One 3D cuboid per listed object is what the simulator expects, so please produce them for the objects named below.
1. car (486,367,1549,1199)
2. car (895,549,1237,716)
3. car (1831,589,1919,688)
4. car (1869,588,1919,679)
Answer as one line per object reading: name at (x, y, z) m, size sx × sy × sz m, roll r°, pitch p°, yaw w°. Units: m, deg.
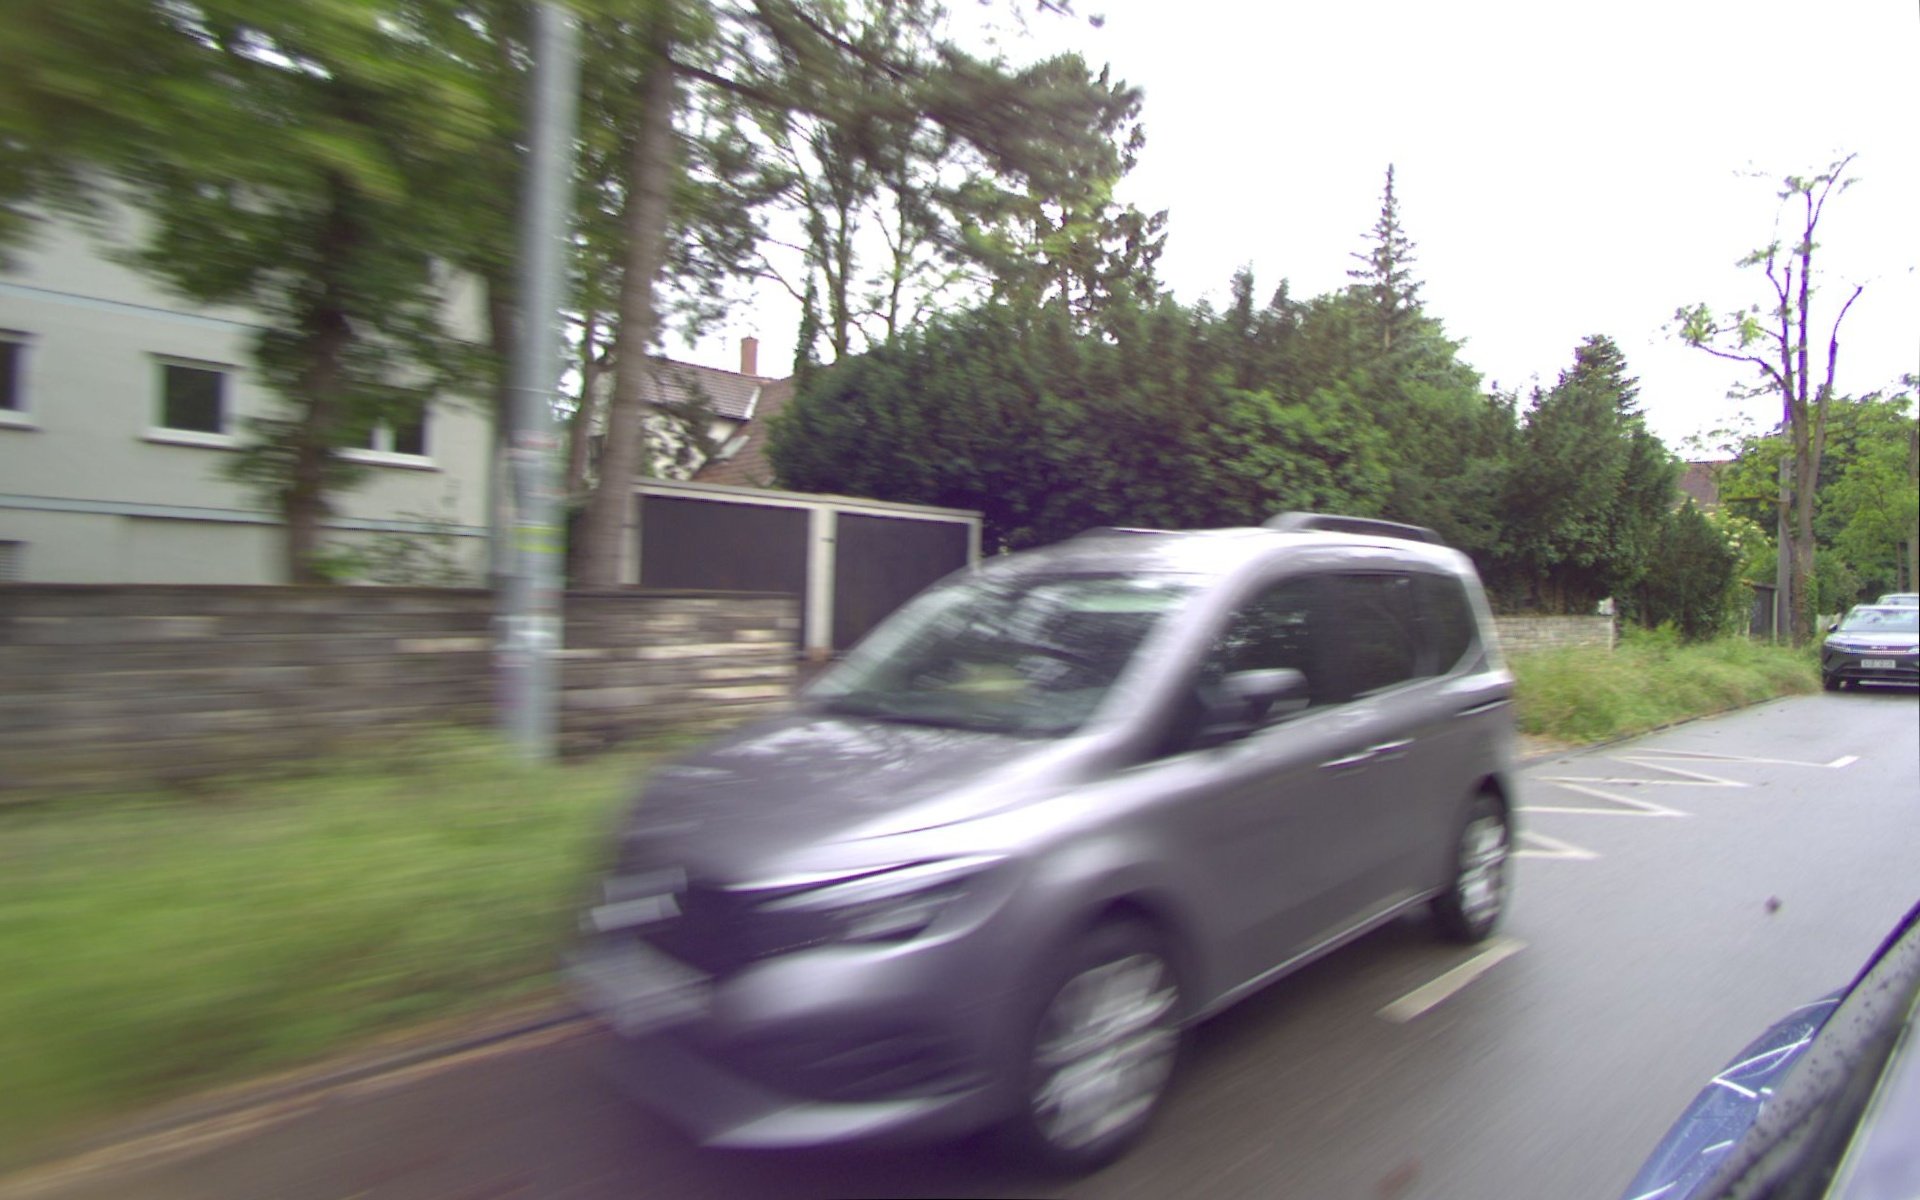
car at (0.639, 0.511, 4.028) m, size 4.209 × 1.836 × 1.816 m, roll 2°, pitch -1°, yaw -43°
car at (1.220, 0.268, 13.401) m, size 1.964 × 1.702 × 4.320 m, roll 0°, pitch 4°, yaw -40°
car at (18.409, 0.724, 19.570) m, size 4.250 × 1.745 × 1.777 m, roll 2°, pitch -1°, yaw -41°
car at (23.279, 0.795, 23.979) m, size 4.801 × 2.039 × 1.997 m, roll 2°, pitch -1°, yaw -41°
